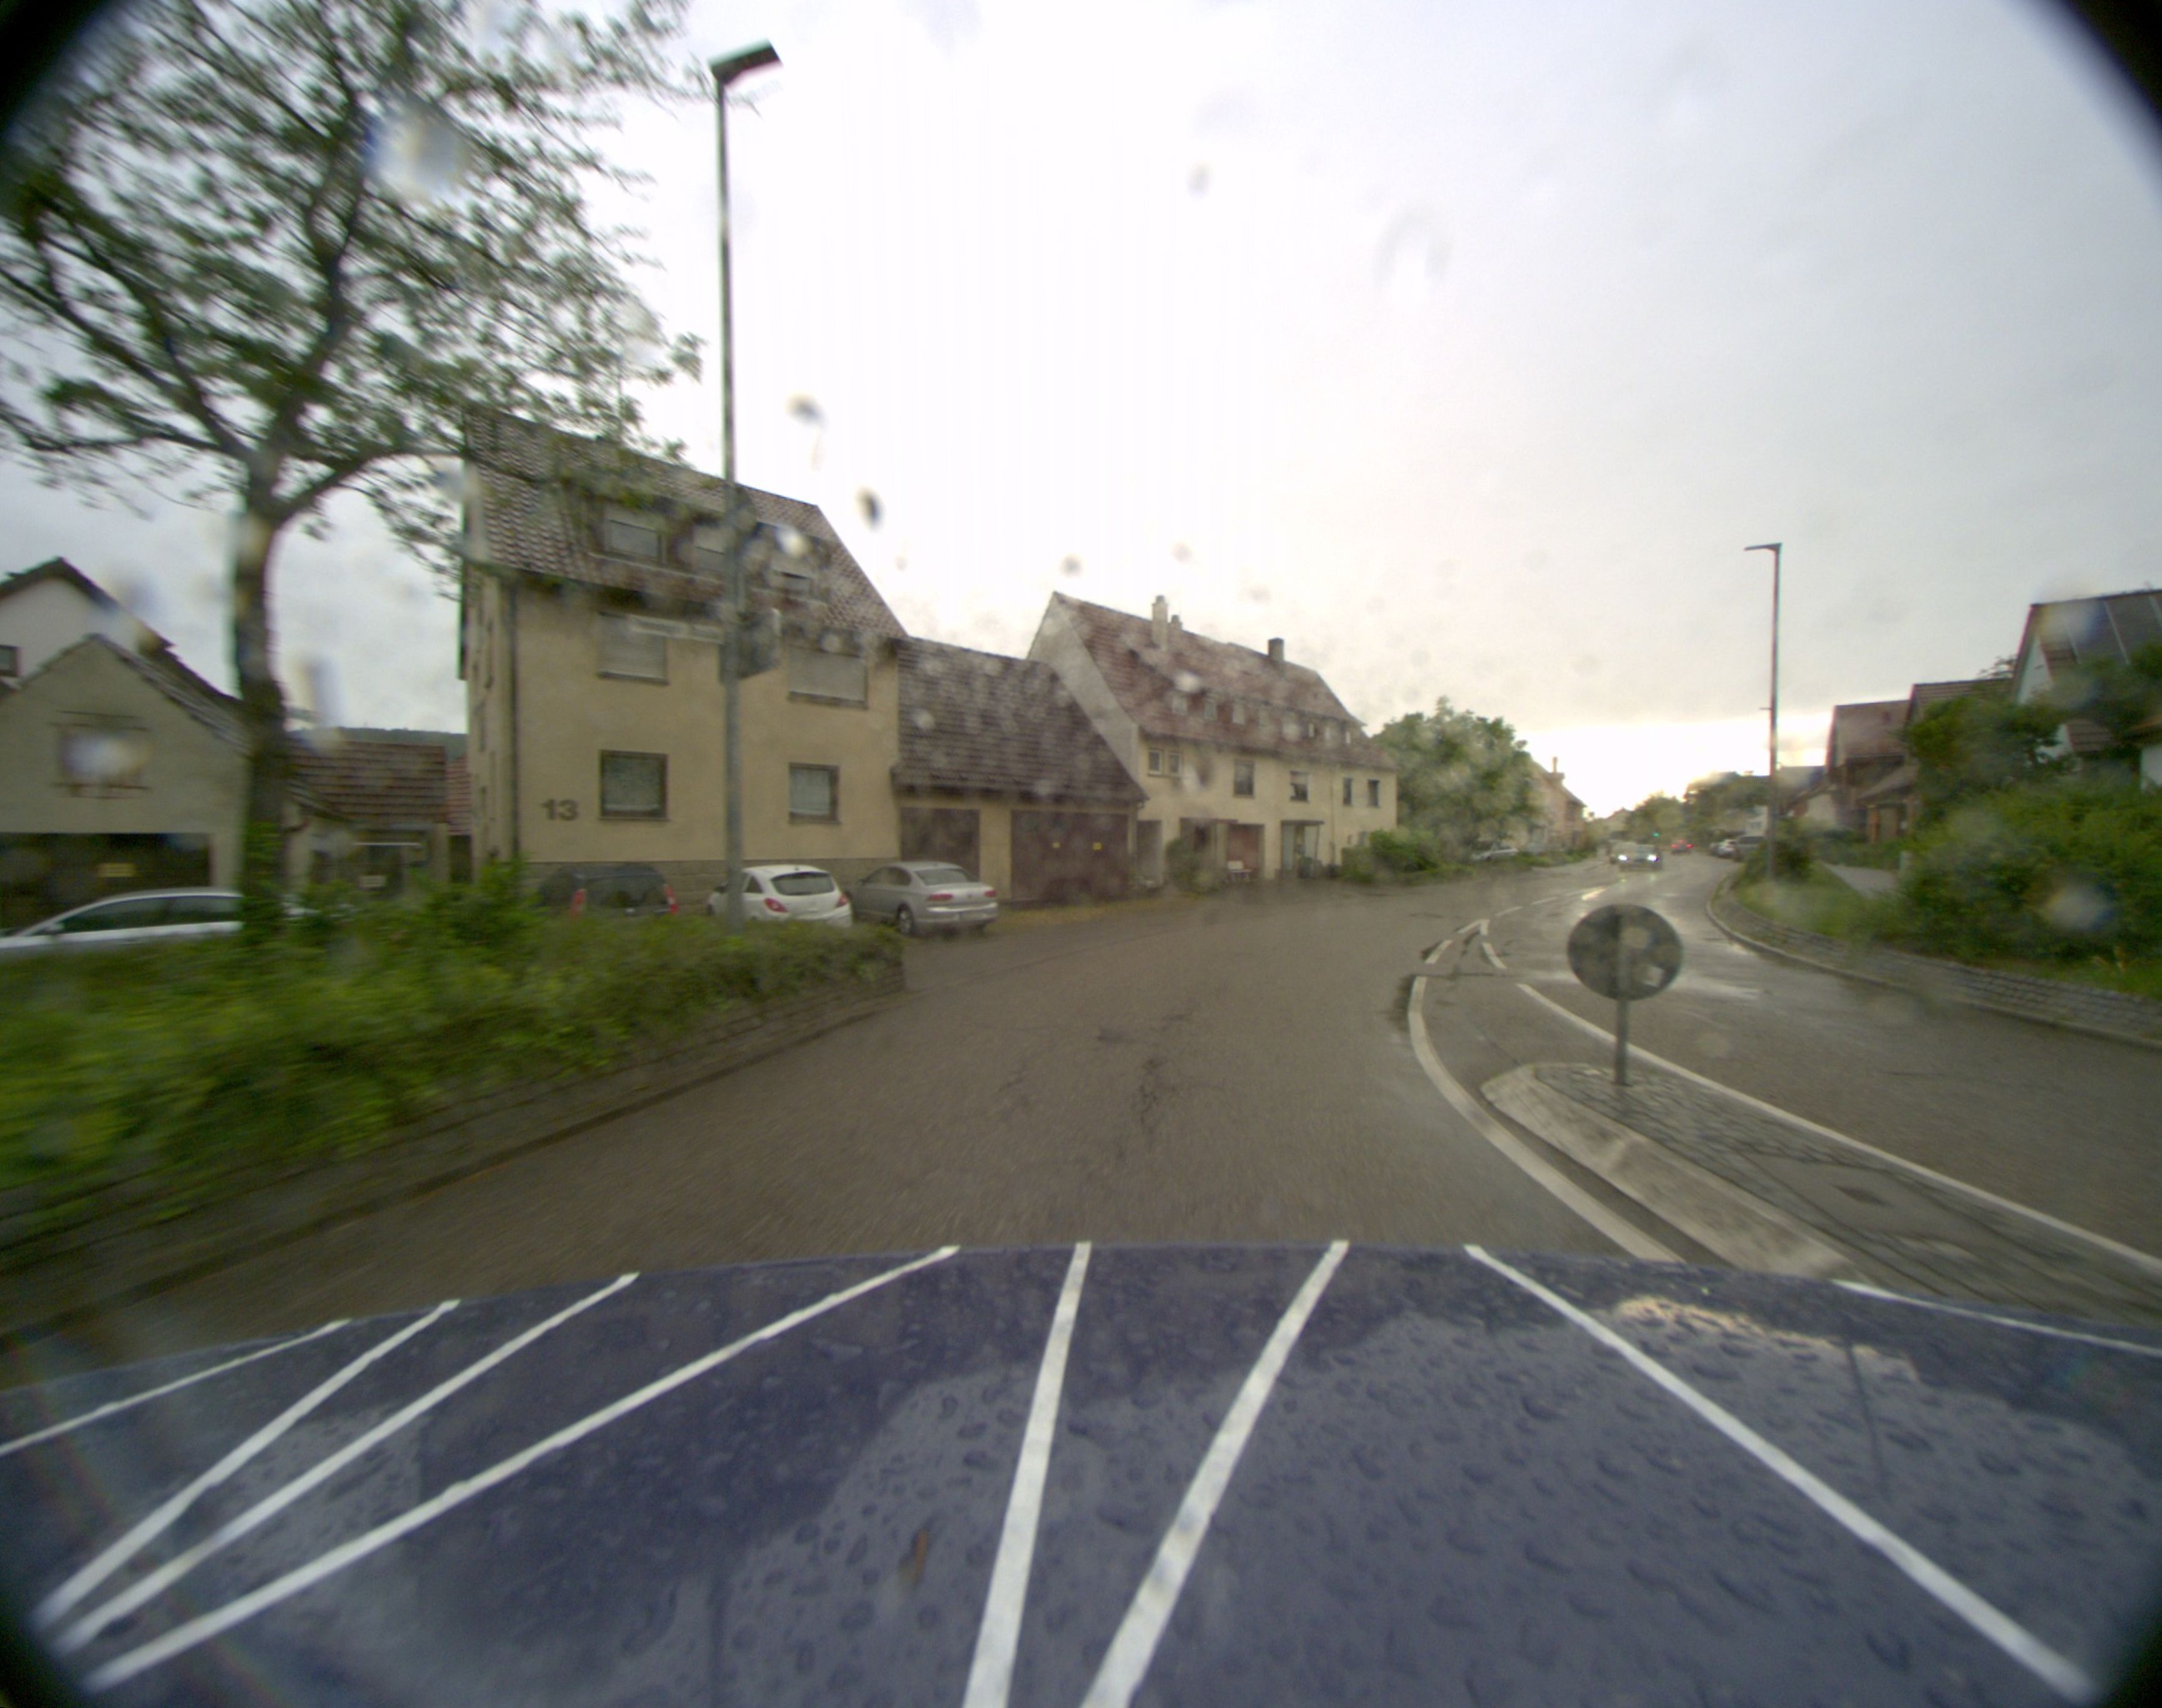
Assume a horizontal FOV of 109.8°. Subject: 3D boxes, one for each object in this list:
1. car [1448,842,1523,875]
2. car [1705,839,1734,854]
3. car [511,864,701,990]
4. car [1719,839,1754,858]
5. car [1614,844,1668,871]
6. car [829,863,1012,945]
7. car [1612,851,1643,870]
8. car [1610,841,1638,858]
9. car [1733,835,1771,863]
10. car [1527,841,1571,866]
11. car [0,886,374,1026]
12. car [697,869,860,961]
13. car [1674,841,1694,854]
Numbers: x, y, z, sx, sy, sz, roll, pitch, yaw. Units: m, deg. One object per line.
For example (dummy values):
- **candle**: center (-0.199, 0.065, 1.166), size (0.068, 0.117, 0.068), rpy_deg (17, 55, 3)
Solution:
- **car**: center (22.766, 0.208, 42.731), size (4.487, 1.701, 1.908), rpy_deg (-1, 1, -35)
- **car**: center (66.392, -0.797, 79.041), size (1.808, 1.612, 4.008), rpy_deg (0, 1, 34)
- **car**: center (-8.193, 1.086, 12.960), size (3.987, 1.574, 1.752), rpy_deg (3, 4, 43)
- **car**: center (57.834, -0.489, 67.060), size (1.808, 1.612, 4.008), rpy_deg (0, 1, 34)
- **car**: center (33.034, 0.186, 44.789), size (1.994, 1.521, 4.008), rpy_deg (-1, 0, 45)
- **car**: center (-3.643, 0.970, 16.606), size (1.824, 1.407, 4.614), rpy_deg (-2, 2, -42)
- **car**: center (43.507, 0.495, 60.455), size (1.784, 1.456, 4.008), rpy_deg (1, 1, 39)
- **car**: center (53.139, -0.453, 74.340), size (1.994, 1.521, 4.008), rpy_deg (-1, 0, 38)
- **car**: center (49.050, -0.389, 55.576), size (1.842, 1.912, 4.198), rpy_deg (-2, 0, 39)
- **car**: center (32.184, -0.038, 52.211), size (1.994, 1.644, 4.078), rpy_deg (1, 1, 39)
- **car**: center (-12.694, 1.298, 10.413), size (4.273, 1.431, 1.902), rpy_deg (-1, 2, -40)
- **car**: center (-5.964, 1.078, 14.831), size (1.722, 1.520, 3.422), rpy_deg (-2, 1, -44)
- **car**: center (72.508, -0.825, 91.340), size (1.808, 1.565, 4.008), rpy_deg (1, 1, 39)
